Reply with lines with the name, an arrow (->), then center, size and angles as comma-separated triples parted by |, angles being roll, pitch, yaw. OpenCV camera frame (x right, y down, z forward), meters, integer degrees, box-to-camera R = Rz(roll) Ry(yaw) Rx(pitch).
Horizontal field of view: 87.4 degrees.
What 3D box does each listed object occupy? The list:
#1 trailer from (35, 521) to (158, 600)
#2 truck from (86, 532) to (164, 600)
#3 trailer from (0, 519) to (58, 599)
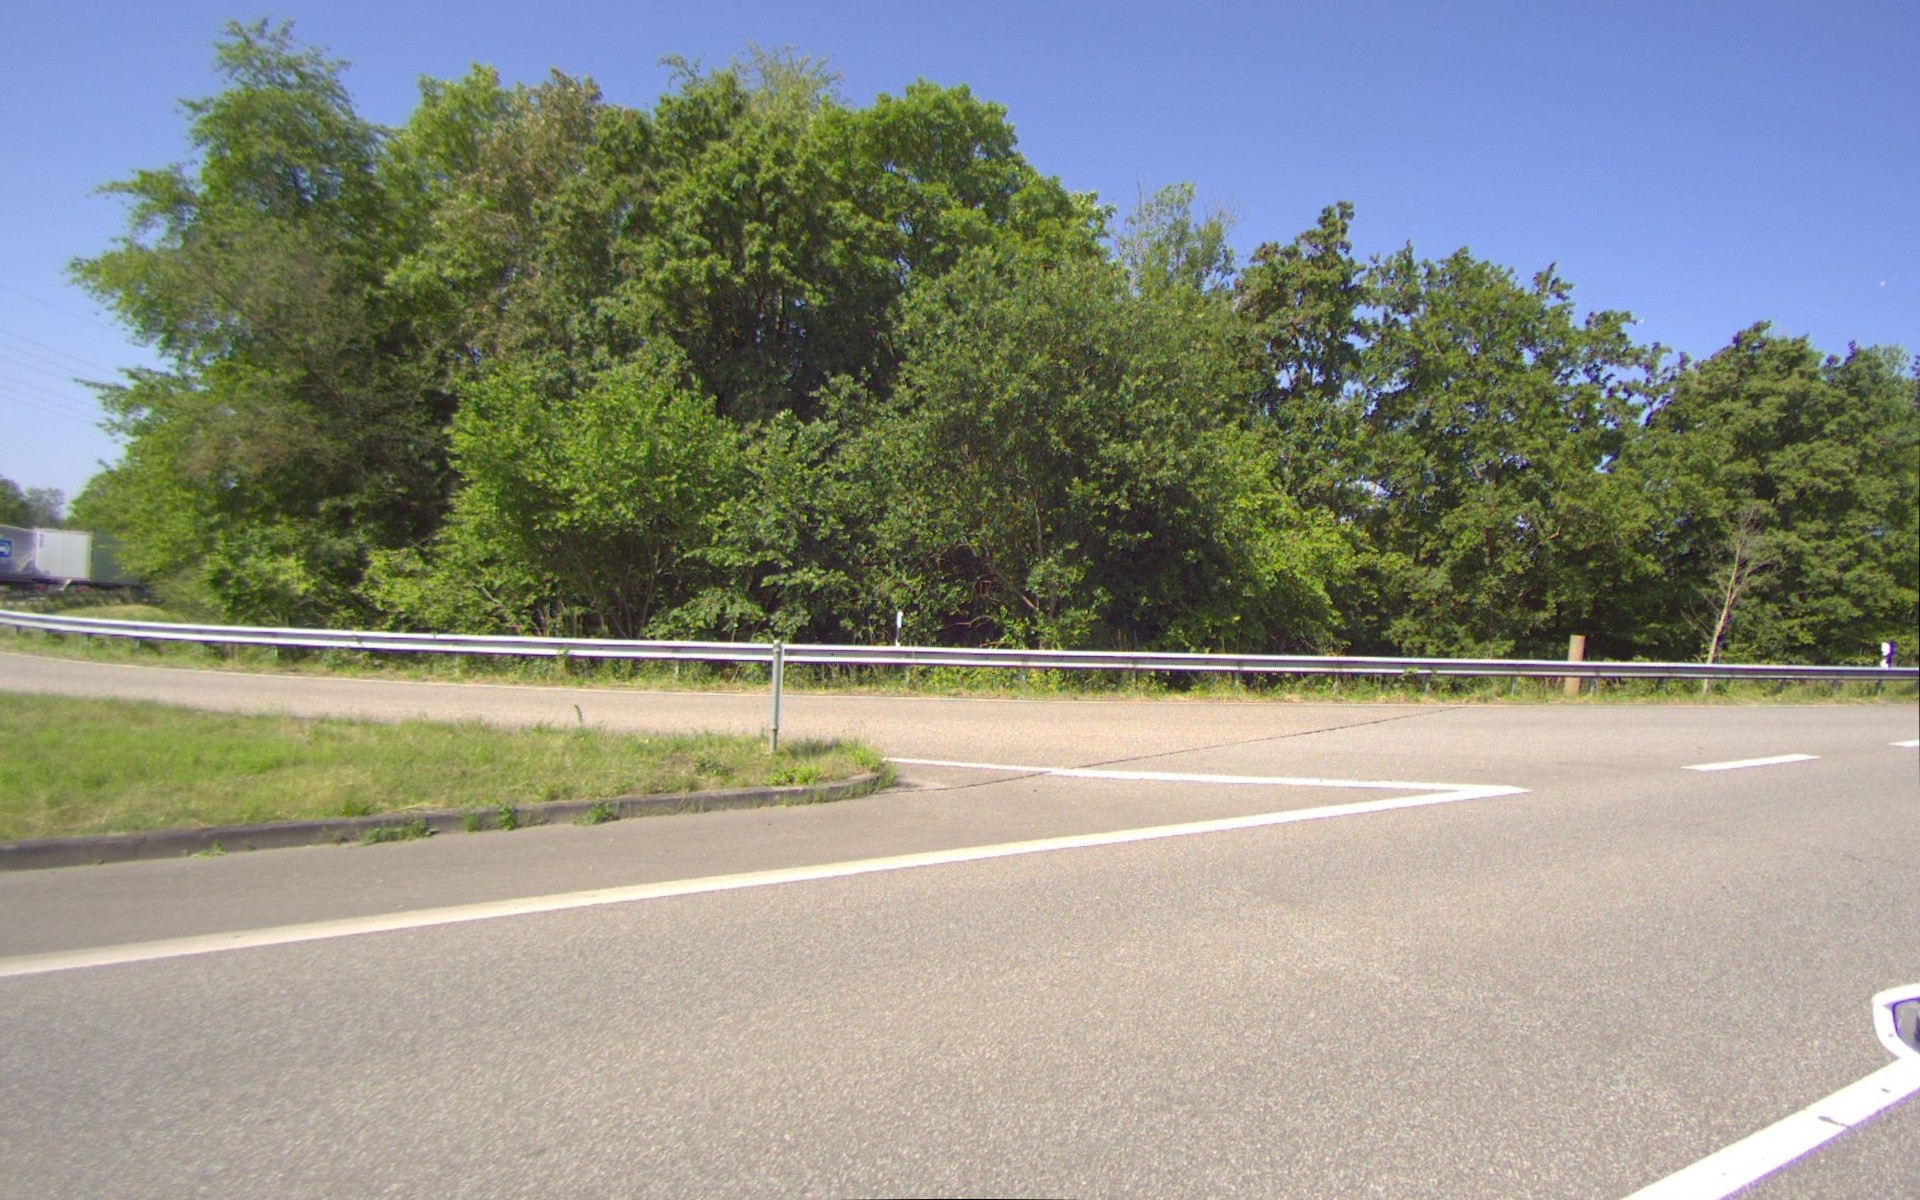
trailer -> -52.833, -2.174, 61.934 | 2.862, 4.220, 13.873 | 1, -1, -29
truck -> -55.807, -2.152, 67.320 | 2.845, 4.229, 5.925 | 2, -1, -29
trailer -> -54.361, -2.309, 55.948 | 2.896, 4.295, 13.872 | 4, -1, -29
